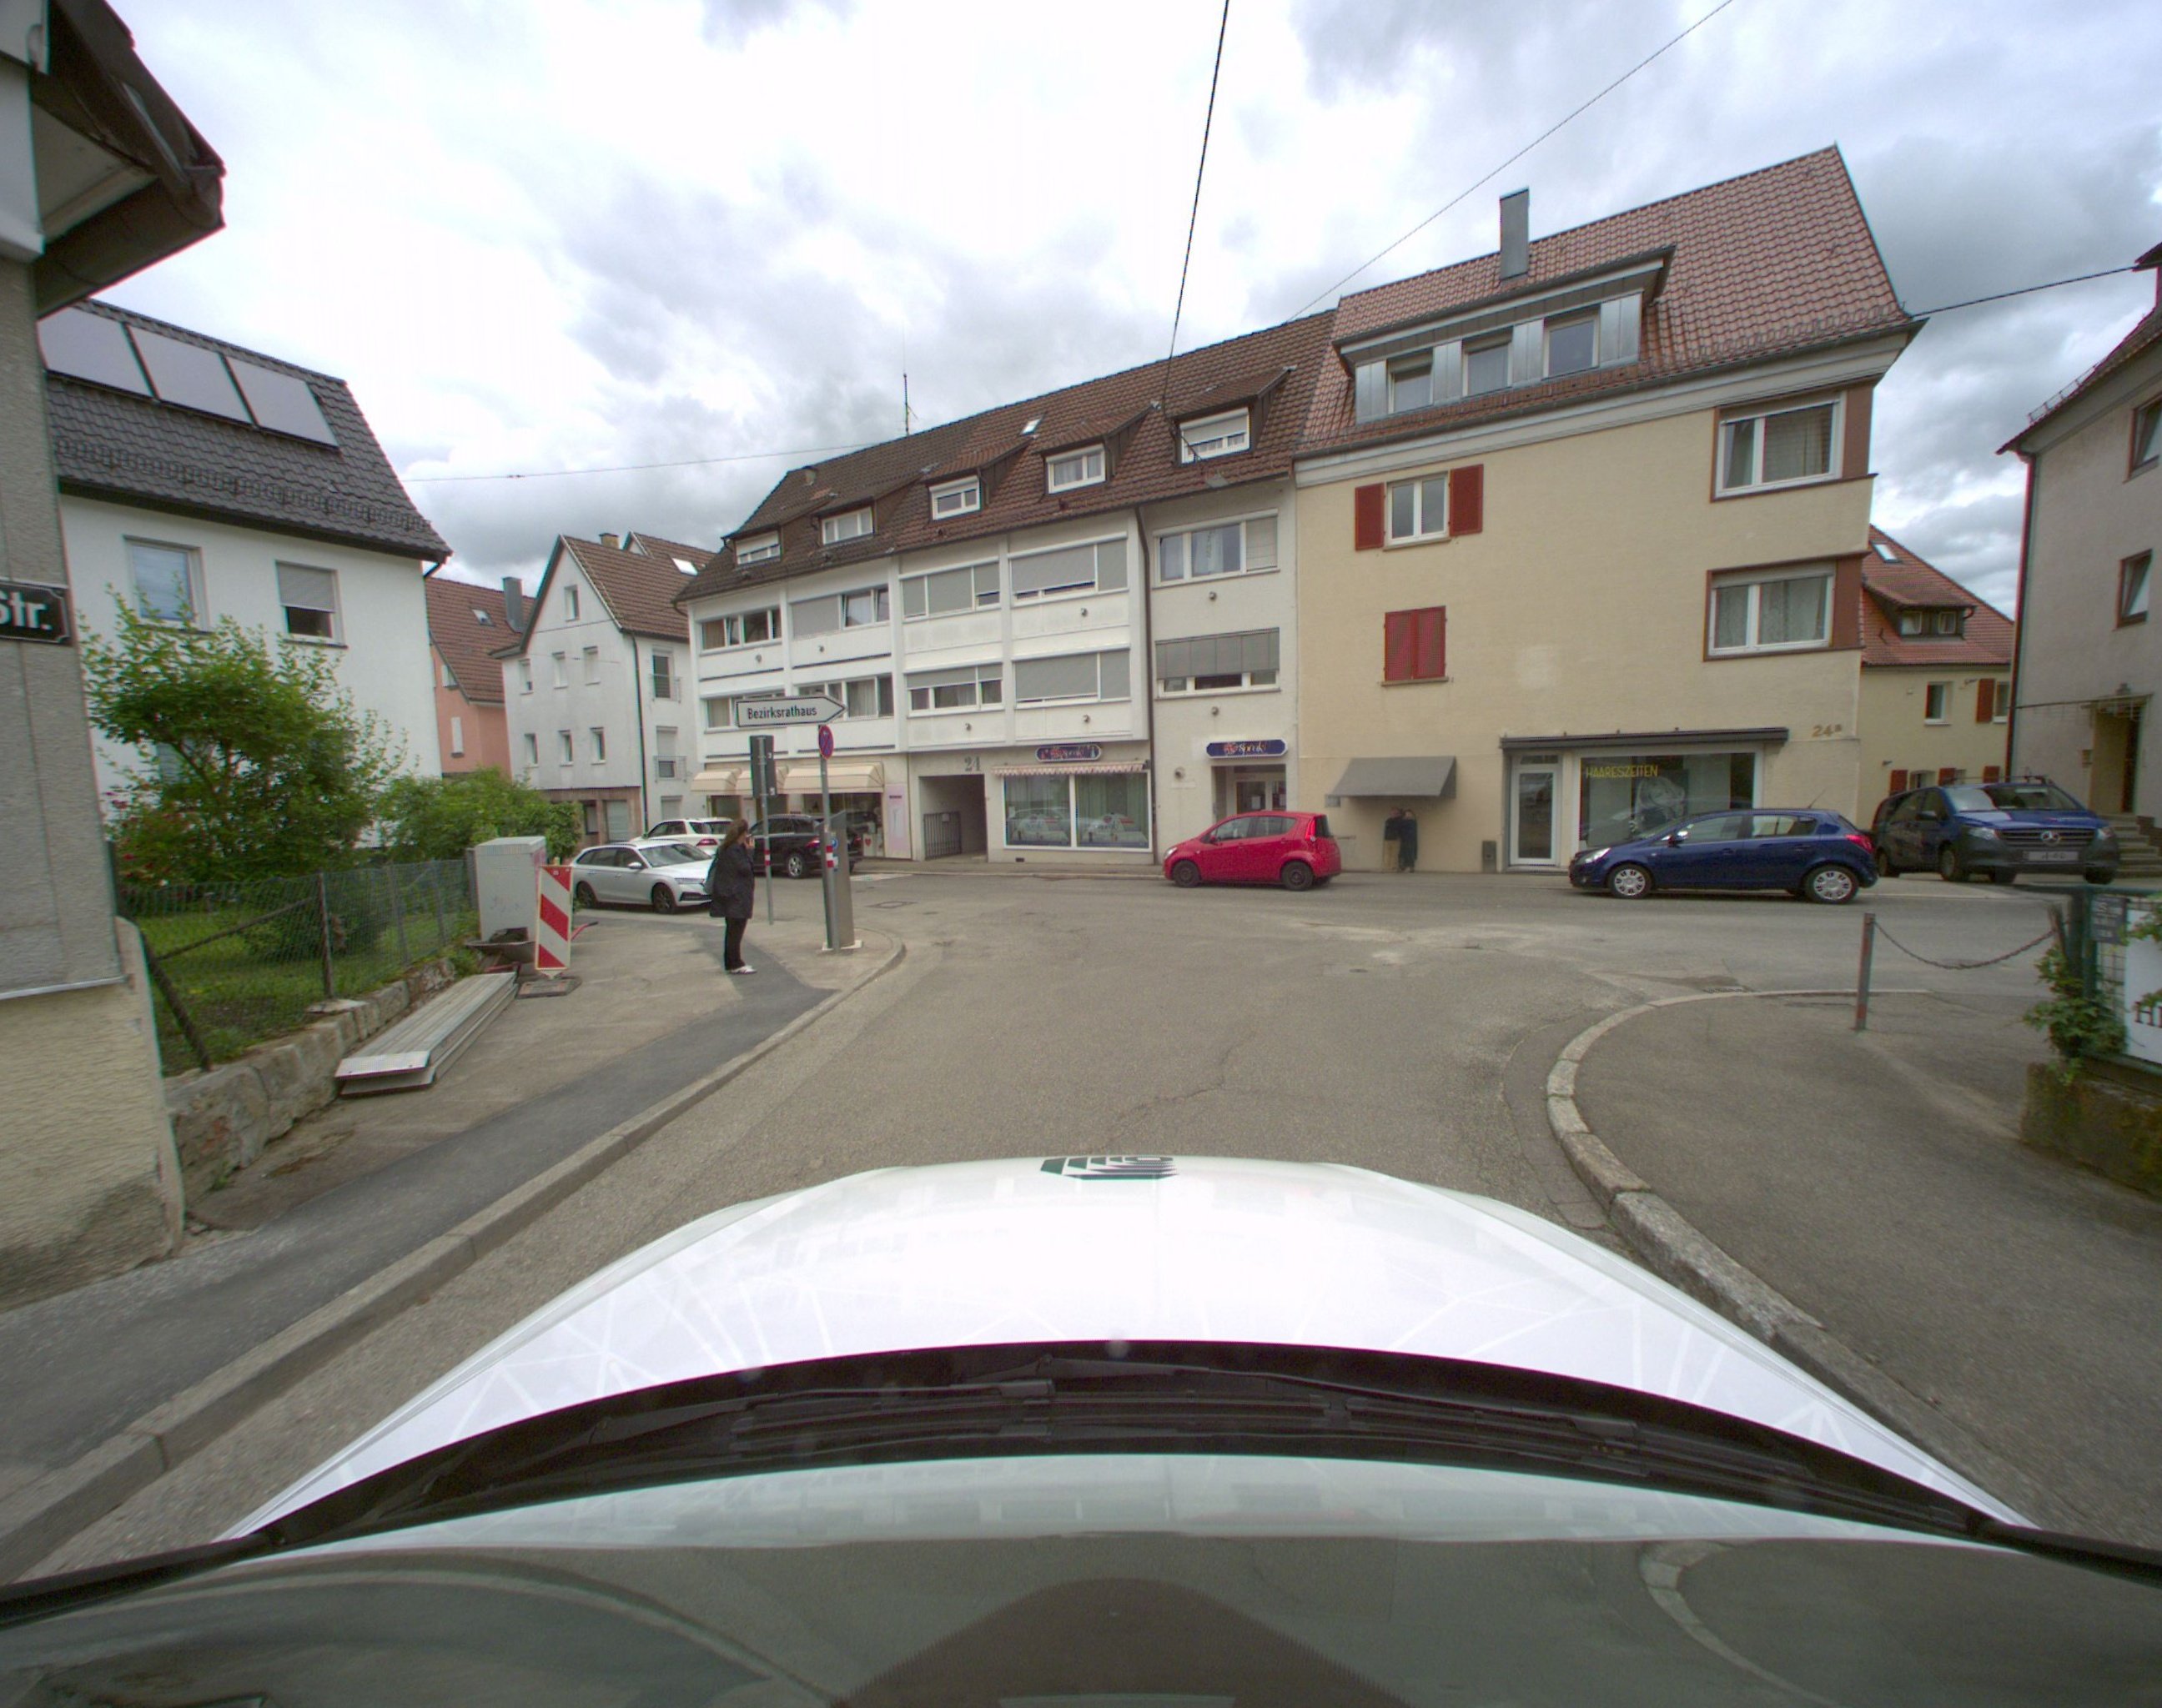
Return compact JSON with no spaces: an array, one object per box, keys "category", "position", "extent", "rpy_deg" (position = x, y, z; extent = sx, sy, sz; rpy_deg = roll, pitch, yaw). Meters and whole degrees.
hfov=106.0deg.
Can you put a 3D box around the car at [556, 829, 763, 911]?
[{"category":"car","position":[-9.273,0.288,17.888],"extent":[4.242,1.460,1.811],"rpy_deg":[0,7,28]}]

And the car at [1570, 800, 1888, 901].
[{"category":"car","position":[10.298,-0.104,13.374],"extent":[3.870,1.449,1.708],"rpy_deg":[1,2,30]}]

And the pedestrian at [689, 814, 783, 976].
[{"category":"pedestrian","position":[-3.728,0.419,8.833],"extent":[0.642,1.684,0.606],"rpy_deg":[-1,3,9]}]

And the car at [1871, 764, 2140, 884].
[{"category":"car","position":[16.997,-0.562,15.348],"extent":[1.928,1.865,4.934],"rpy_deg":[0,2,31]}]

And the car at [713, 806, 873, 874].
[{"category":"car","position":[-8.387,-0.421,23.688],"extent":[4.313,1.779,1.960],"rpy_deg":[0,4,30]}]

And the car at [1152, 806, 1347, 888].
[{"category":"car","position":[3.528,-0.197,17.183],"extent":[3.648,1.556,1.708],"rpy_deg":[1,4,31]}]

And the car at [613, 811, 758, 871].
[{"category":"car","position":[-12.724,-0.486,26.191],"extent":[4.321,1.711,1.953],"rpy_deg":[1,6,29]}]

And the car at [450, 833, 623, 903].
[{"category":"car","position":[-13.647,0.281,20.381],"extent":[4.118,1.416,1.786],"rpy_deg":[1,8,29]}]
